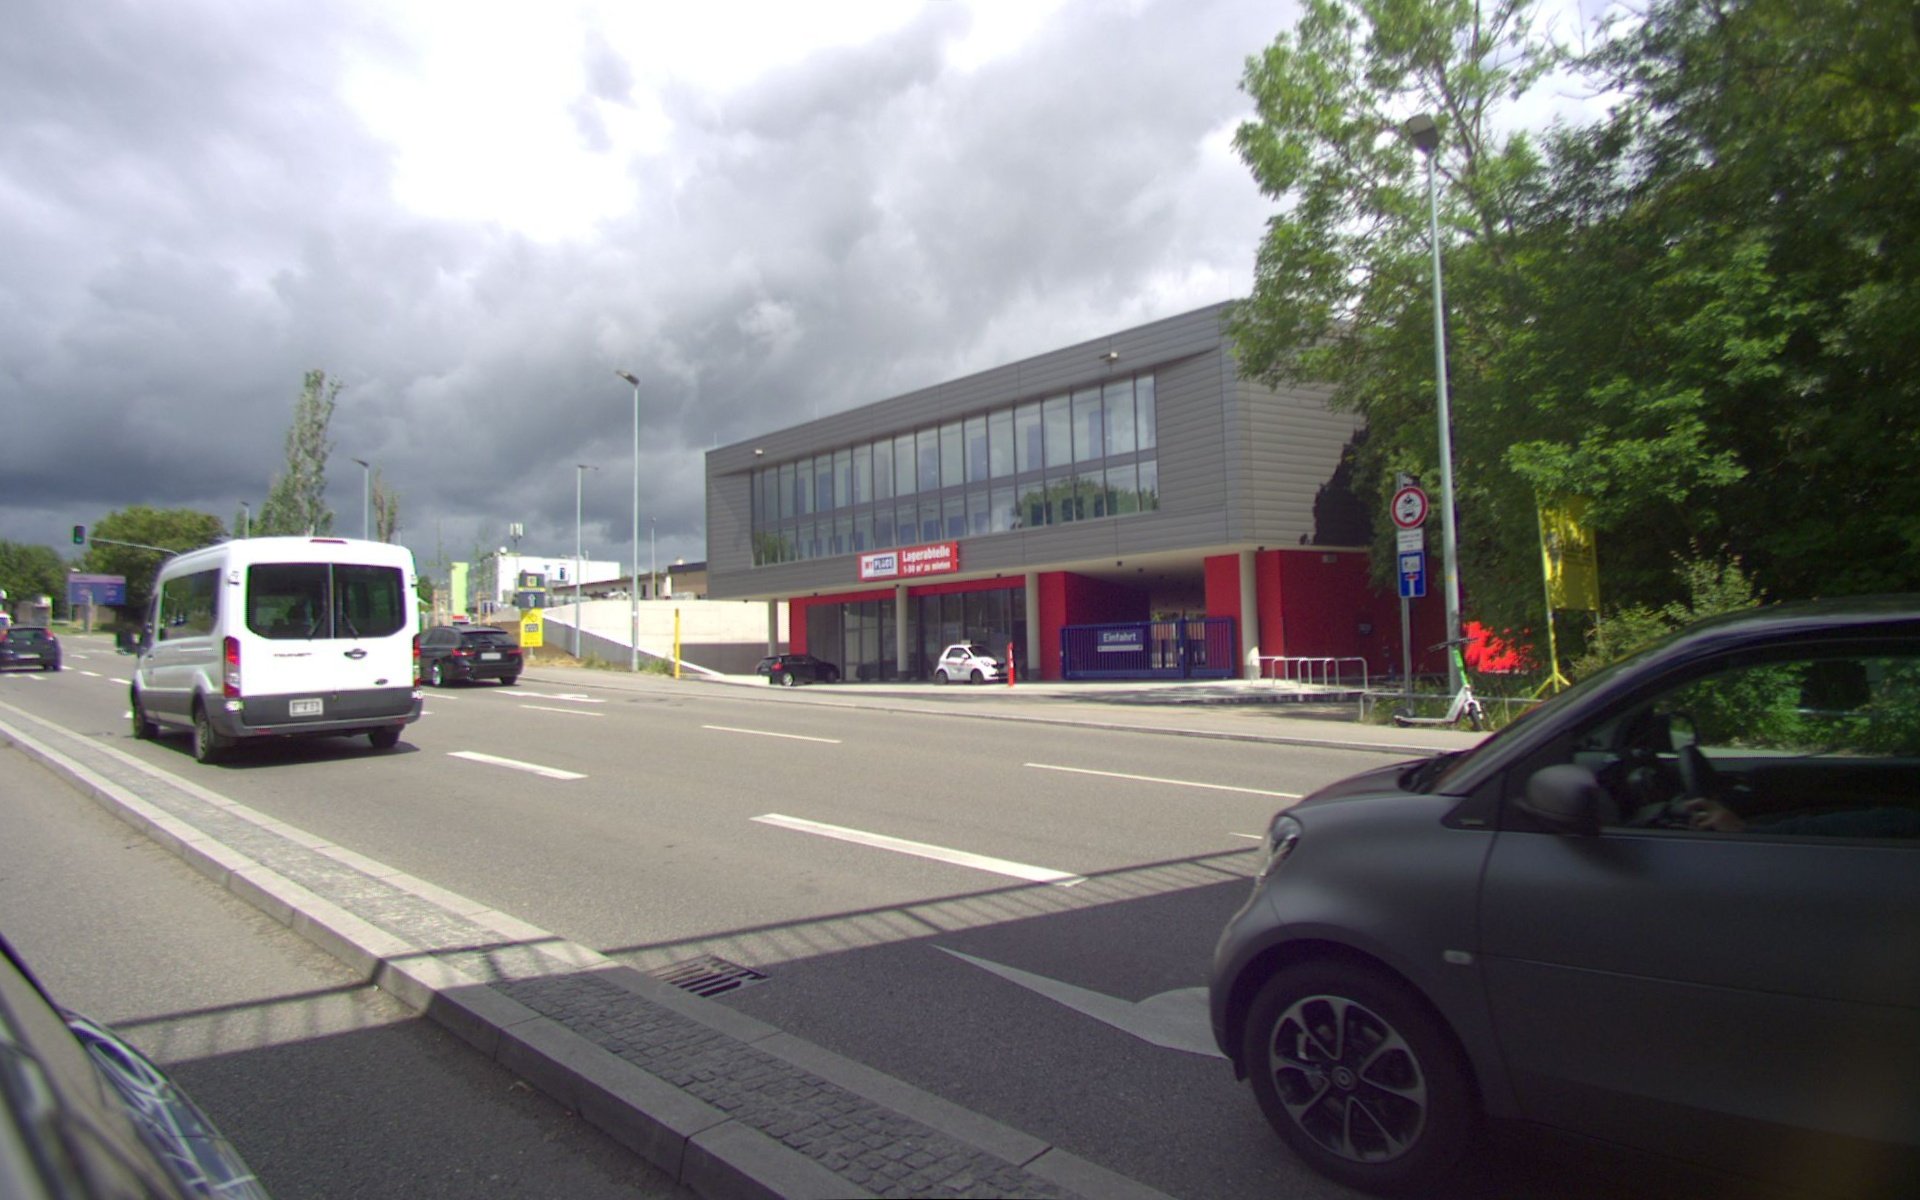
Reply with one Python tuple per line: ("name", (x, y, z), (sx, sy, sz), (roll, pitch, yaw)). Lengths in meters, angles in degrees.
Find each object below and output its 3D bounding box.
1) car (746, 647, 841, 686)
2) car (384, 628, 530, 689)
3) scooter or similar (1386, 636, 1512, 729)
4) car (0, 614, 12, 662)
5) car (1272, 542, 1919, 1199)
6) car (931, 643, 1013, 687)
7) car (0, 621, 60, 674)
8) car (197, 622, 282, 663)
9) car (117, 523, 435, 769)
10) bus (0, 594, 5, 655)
("car", (-7.464, 2.975, 45.637), (1.958, 1.630, 3.946), (-2, -3, 40))
("car", (-12.350, 1.375, 24.751), (4.001, 1.364, 1.971), (-2, -3, 44))
("scooter or similar", (6.268, 1.031, 13.025), (0.470, 1.129, 1.387), (2, -3, -36))
("car", (-38.689, 1.505, 39.706), (4.253, 1.820, 1.803), (-2, -1, 41))
("car", (2.374, 0.667, 2.372), (2.736, 1.543, 1.552), (-2, -2, 41))
("car", (0.449, 2.465, 38.879), (2.844, 1.595, 1.551), (-2, -3, 41))
("car", (-30.540, 1.507, 32.731), (4.253, 1.603, 1.619), (-2, -1, 41))
("car", (-27.983, 1.633, 39.264), (4.001, 1.498, 1.971), (-2, -3, 44))
("car", (-8.874, 0.532, 12.877), (5.569, 2.491, 2.019), (-2, -1, 41))
("bus", (-50.550, 1.227, 51.105), (8.534, 2.968, 2.616), (-1, 0, 41))
